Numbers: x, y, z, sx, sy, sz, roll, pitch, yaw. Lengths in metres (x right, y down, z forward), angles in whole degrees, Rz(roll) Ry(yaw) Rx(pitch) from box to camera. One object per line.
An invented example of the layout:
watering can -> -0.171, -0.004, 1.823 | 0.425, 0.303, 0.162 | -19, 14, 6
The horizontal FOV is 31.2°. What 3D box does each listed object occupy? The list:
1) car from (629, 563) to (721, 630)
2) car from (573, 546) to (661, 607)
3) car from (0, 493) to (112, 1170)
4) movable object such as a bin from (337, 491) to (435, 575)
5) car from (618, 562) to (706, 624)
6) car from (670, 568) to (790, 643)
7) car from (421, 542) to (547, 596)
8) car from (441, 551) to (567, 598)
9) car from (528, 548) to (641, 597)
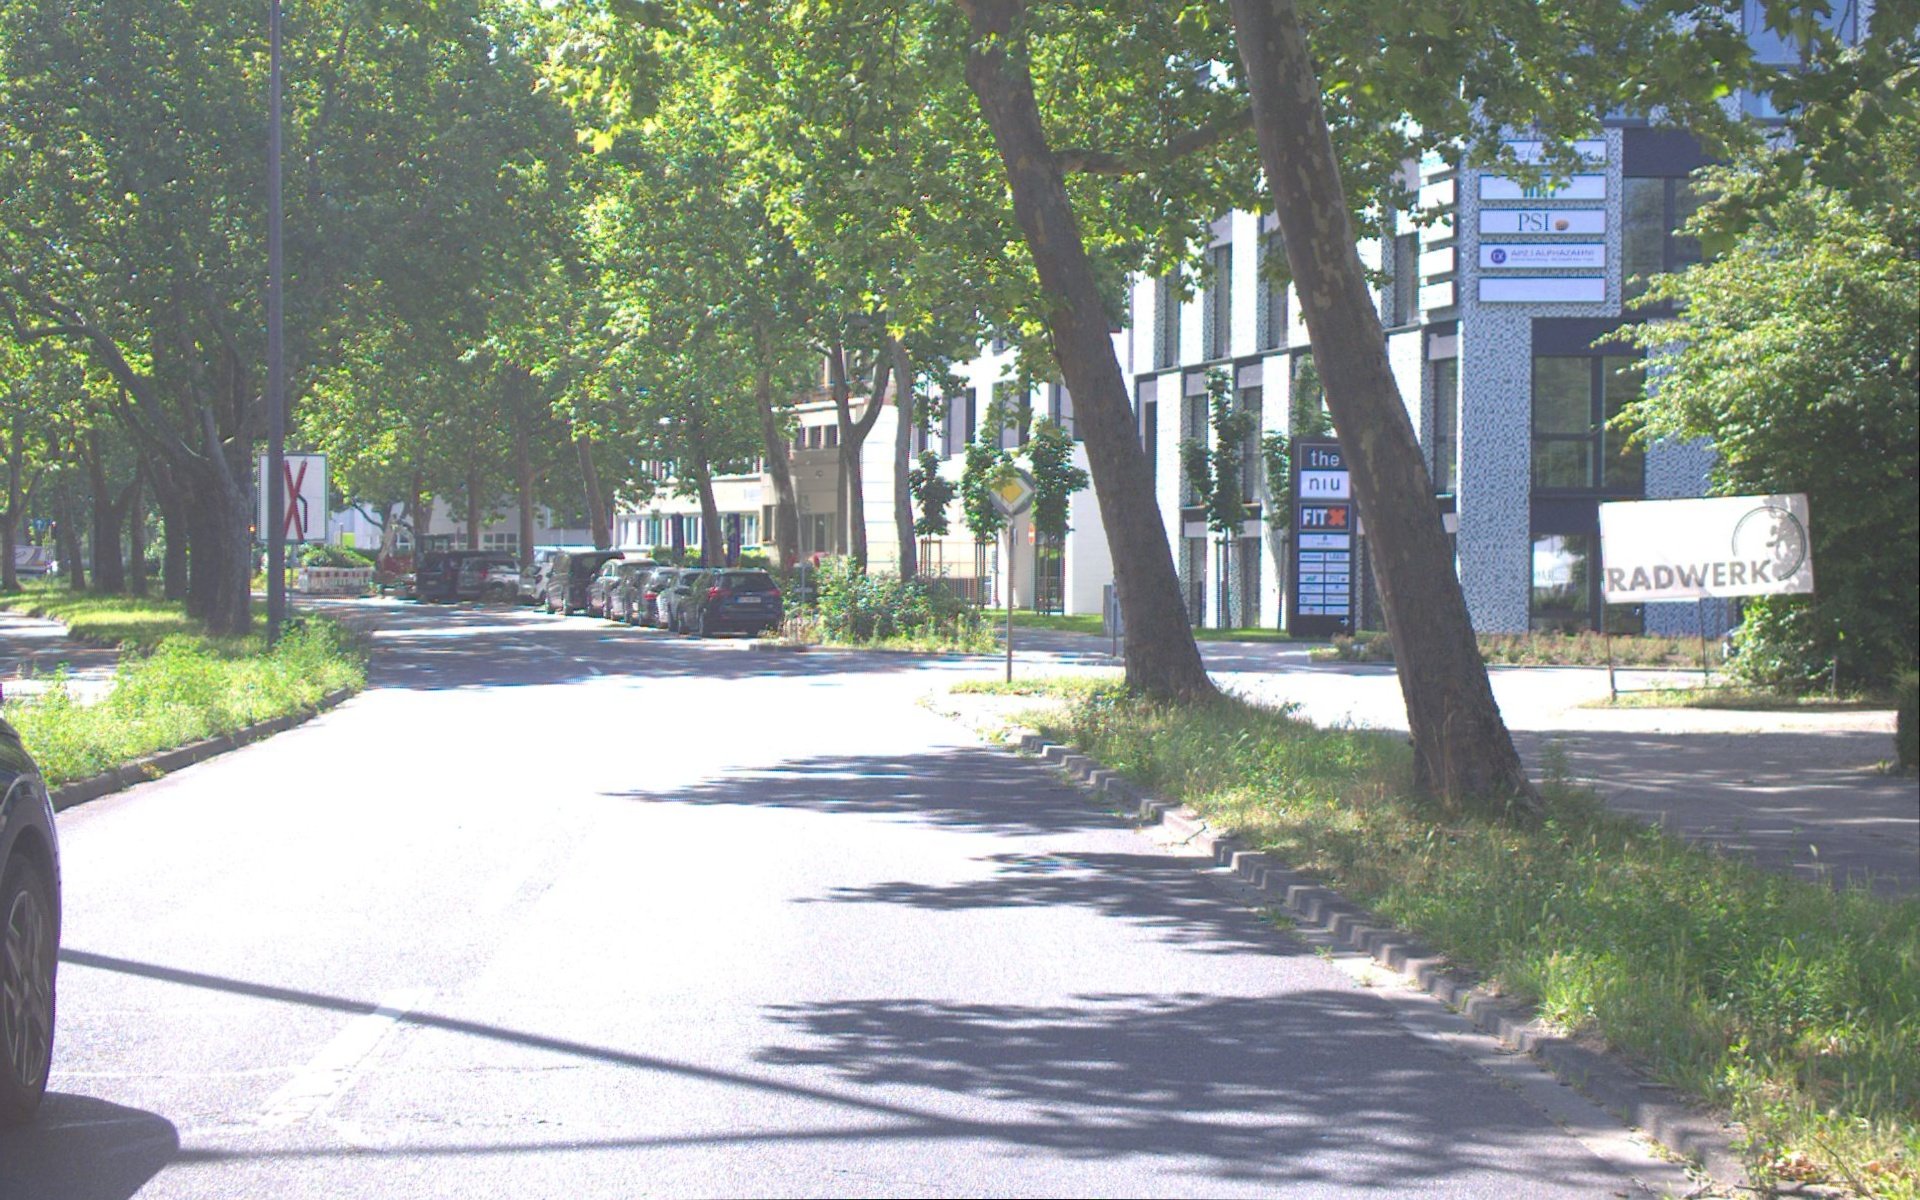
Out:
car -> -6.710, -0.098, 80.520 | 1.706, 1.482, 4.102 | 0, 1, -11
car -> -9.787, -0.696, 97.850 | 1.706, 1.664, 4.535 | 0, 1, -16
car -> -3.315, 0.600, 7.623 | 1.872, 1.690, 4.436 | -1, 1, -2
movable object such as a bin -> -22.548, -2.642, 134.956 | 2.329, 3.230, 3.429 | -1, 1, -41
car -> -7.442, -0.202, 85.590 | 1.706, 1.450, 4.657 | 0, 1, -11
car -> -5.053, 0.087, 74.903 | 1.706, 1.482, 4.720 | -1, 1, -15
car -> -17.072, -1.125, 123.387 | 4.100, 1.873, 1.785 | -1, 1, -33
car -> -16.148, -0.920, 121.776 | 4.100, 1.627, 1.712 | -1, 1, -31
car -> -12.809, -0.936, 117.194 | 3.551, 1.634, 1.659 | 0, 1, -18
